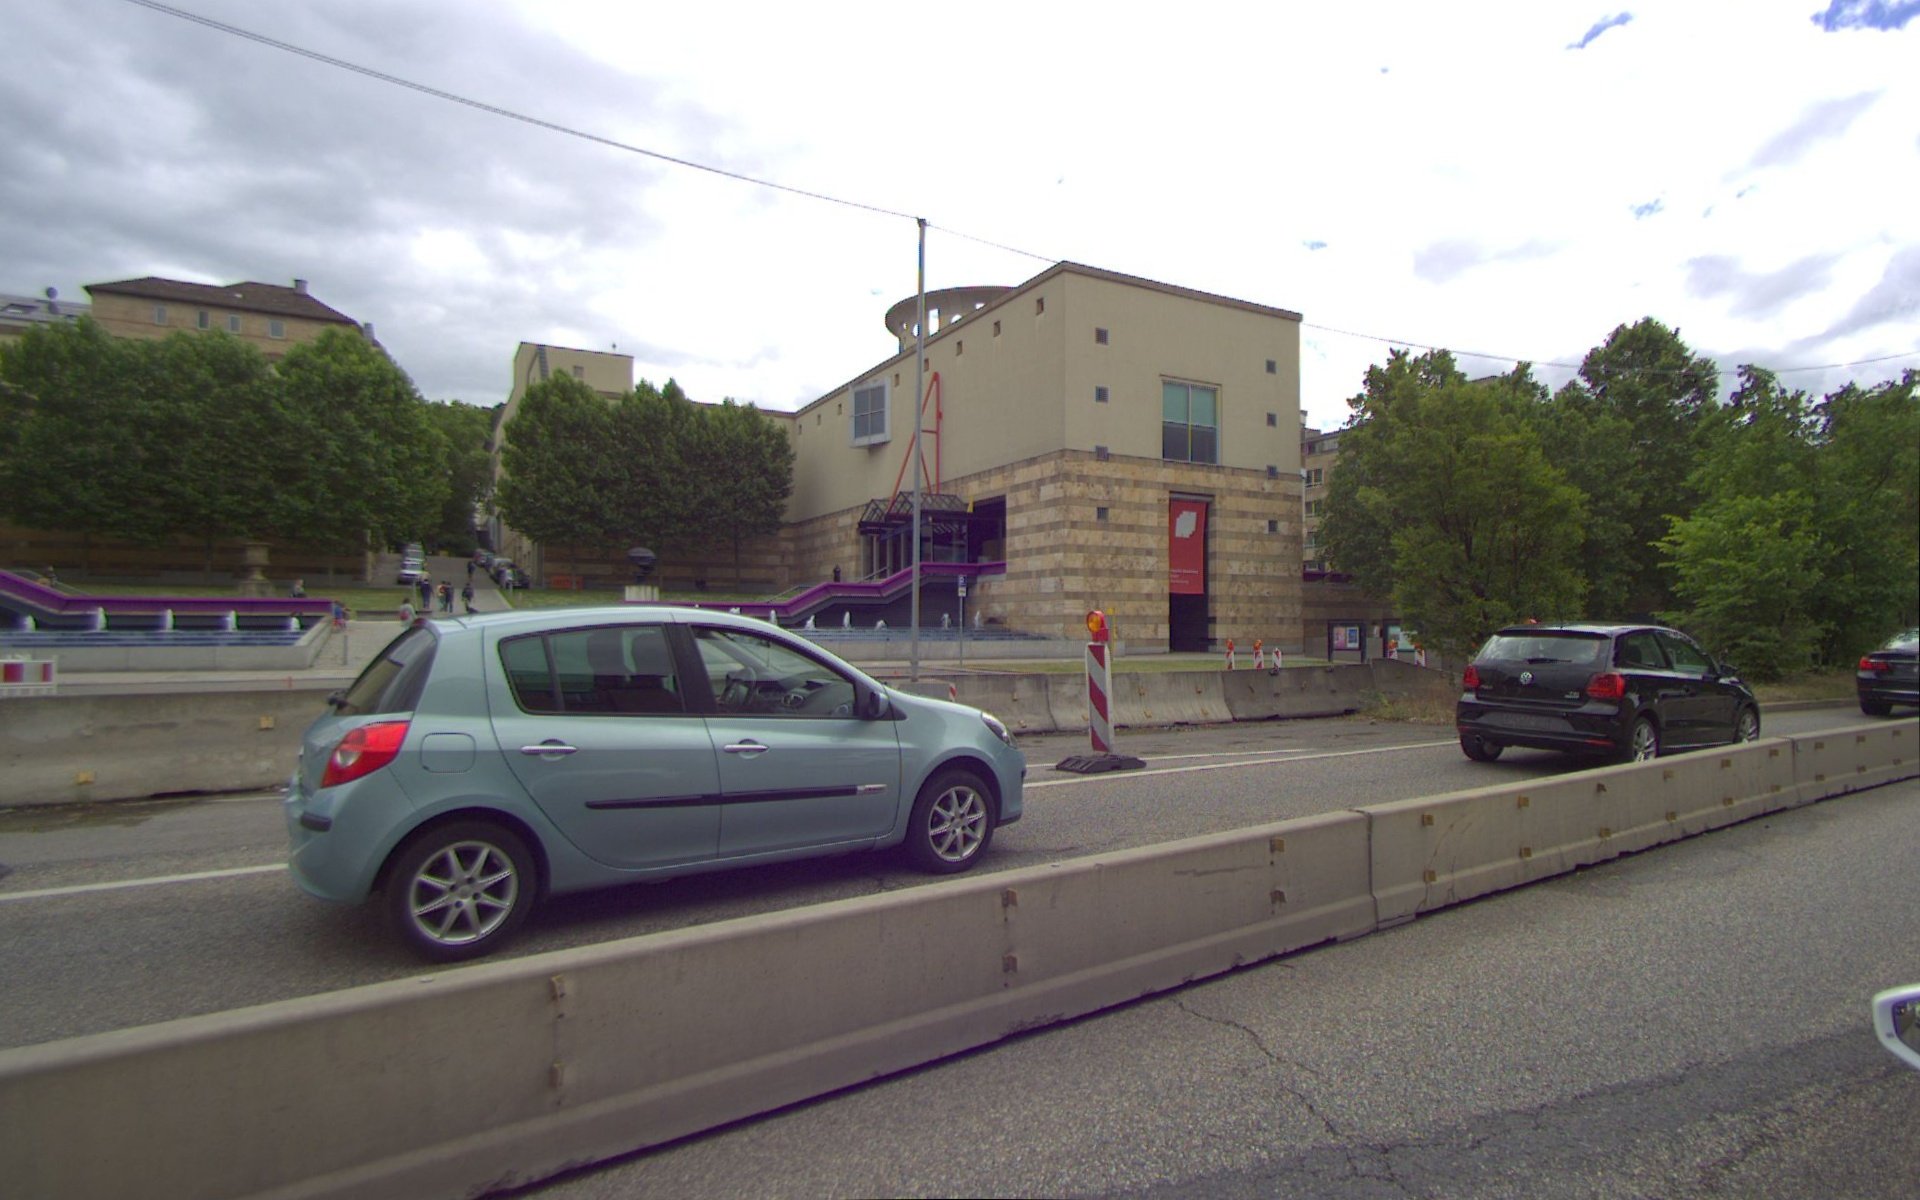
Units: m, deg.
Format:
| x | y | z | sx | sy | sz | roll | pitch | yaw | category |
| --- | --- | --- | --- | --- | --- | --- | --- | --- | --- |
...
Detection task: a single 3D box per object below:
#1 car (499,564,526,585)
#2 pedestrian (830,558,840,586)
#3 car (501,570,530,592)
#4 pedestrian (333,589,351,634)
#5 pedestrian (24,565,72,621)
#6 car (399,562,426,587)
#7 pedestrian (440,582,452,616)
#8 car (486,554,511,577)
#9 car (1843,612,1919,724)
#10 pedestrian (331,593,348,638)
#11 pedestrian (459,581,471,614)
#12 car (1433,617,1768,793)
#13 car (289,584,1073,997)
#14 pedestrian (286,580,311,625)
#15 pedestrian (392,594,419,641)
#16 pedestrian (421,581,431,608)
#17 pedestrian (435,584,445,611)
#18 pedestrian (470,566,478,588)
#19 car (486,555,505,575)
| x | y | z | sx | sy | sz | roll | pitch | yaw | category |
| --- | --- | --- | --- | --- | --- | --- | --- | --- | --- |
| -35.487 | -1.989 | 79.539 | 1.591 | 1.557 | 3.777 | 2 | 1 | -29 | car |
| -9.105 | -2.019 | 73.151 | 0.594 | 2.040 | 0.409 | 2 | 1 | -30 | pedestrian |
| -32.639 | -1.406 | 73.700 | 1.591 | 1.557 | 3.777 | 2 | 1 | -29 | car |
| -23.930 | 0.459 | 38.912 | 0.520 | 1.717 | 0.693 | 1 | 0 | -30 | pedestrian |
| -34.536 | -0.265 | 38.064 | 1.078 | 2.040 | 0.915 | 2 | 1 | -25 | pedestrian |
| -41.161 | -1.879 | 75.621 | 1.589 | 1.822 | 3.782 | 1 | 0 | -26 | car |
| -27.245 | -0.074 | 53.244 | 0.472 | 1.772 | 0.642 | 1 | 0 | -31 | pedestrian |
| -39.141 | -2.891 | 85.242 | 1.591 | 1.822 | 3.777 | 2 | 1 | -29 | car |
| 16.389 | 1.077 | 16.350 | 4.886 | 1.658 | 1.911 | 2 | 0 | -35 | car |
| -23.701 | 0.579 | 38.362 | 0.520 | 1.717 | 0.340 | 1 | 0 | -30 | pedestrian |
| -26.496 | -0.133 | 53.772 | 0.472 | 1.772 | 0.642 | 1 | 0 | -31 | pedestrian |
| 6.812 | 0.959 | 10.521 | 4.160 | 1.473 | 1.647 | 2 | 0 | -38 | car |
| -1.353 | 0.741 | 5.528 | 3.818 | 1.527 | 1.660 | 2 | 0 | -37 | car |
| -28.407 | 0.108 | 43.123 | 0.794 | 1.877 | 0.689 | 2 | 1 | -29 | pedestrian |
| -20.625 | 0.645 | 37.393 | 0.685 | 1.717 | 0.526 | 1 | 0 | -3 | pedestrian |
| -29.082 | -0.280 | 54.708 | 0.472 | 1.441 | 0.402 | 1 | 0 | -31 | pedestrian |
| -28.117 | -0.157 | 54.304 | 0.472 | 1.441 | 0.402 | 1 | 0 | -31 | pedestrian |
| -39.493 | -1.865 | 81.599 | 0.535 | 1.808 | 0.464 | 2 | -1 | -27 | pedestrian |
| -45.208 | -3.410 | 97.714 | 1.589 | 1.822 | 3.782 | 2 | 1 | -26 | car |
